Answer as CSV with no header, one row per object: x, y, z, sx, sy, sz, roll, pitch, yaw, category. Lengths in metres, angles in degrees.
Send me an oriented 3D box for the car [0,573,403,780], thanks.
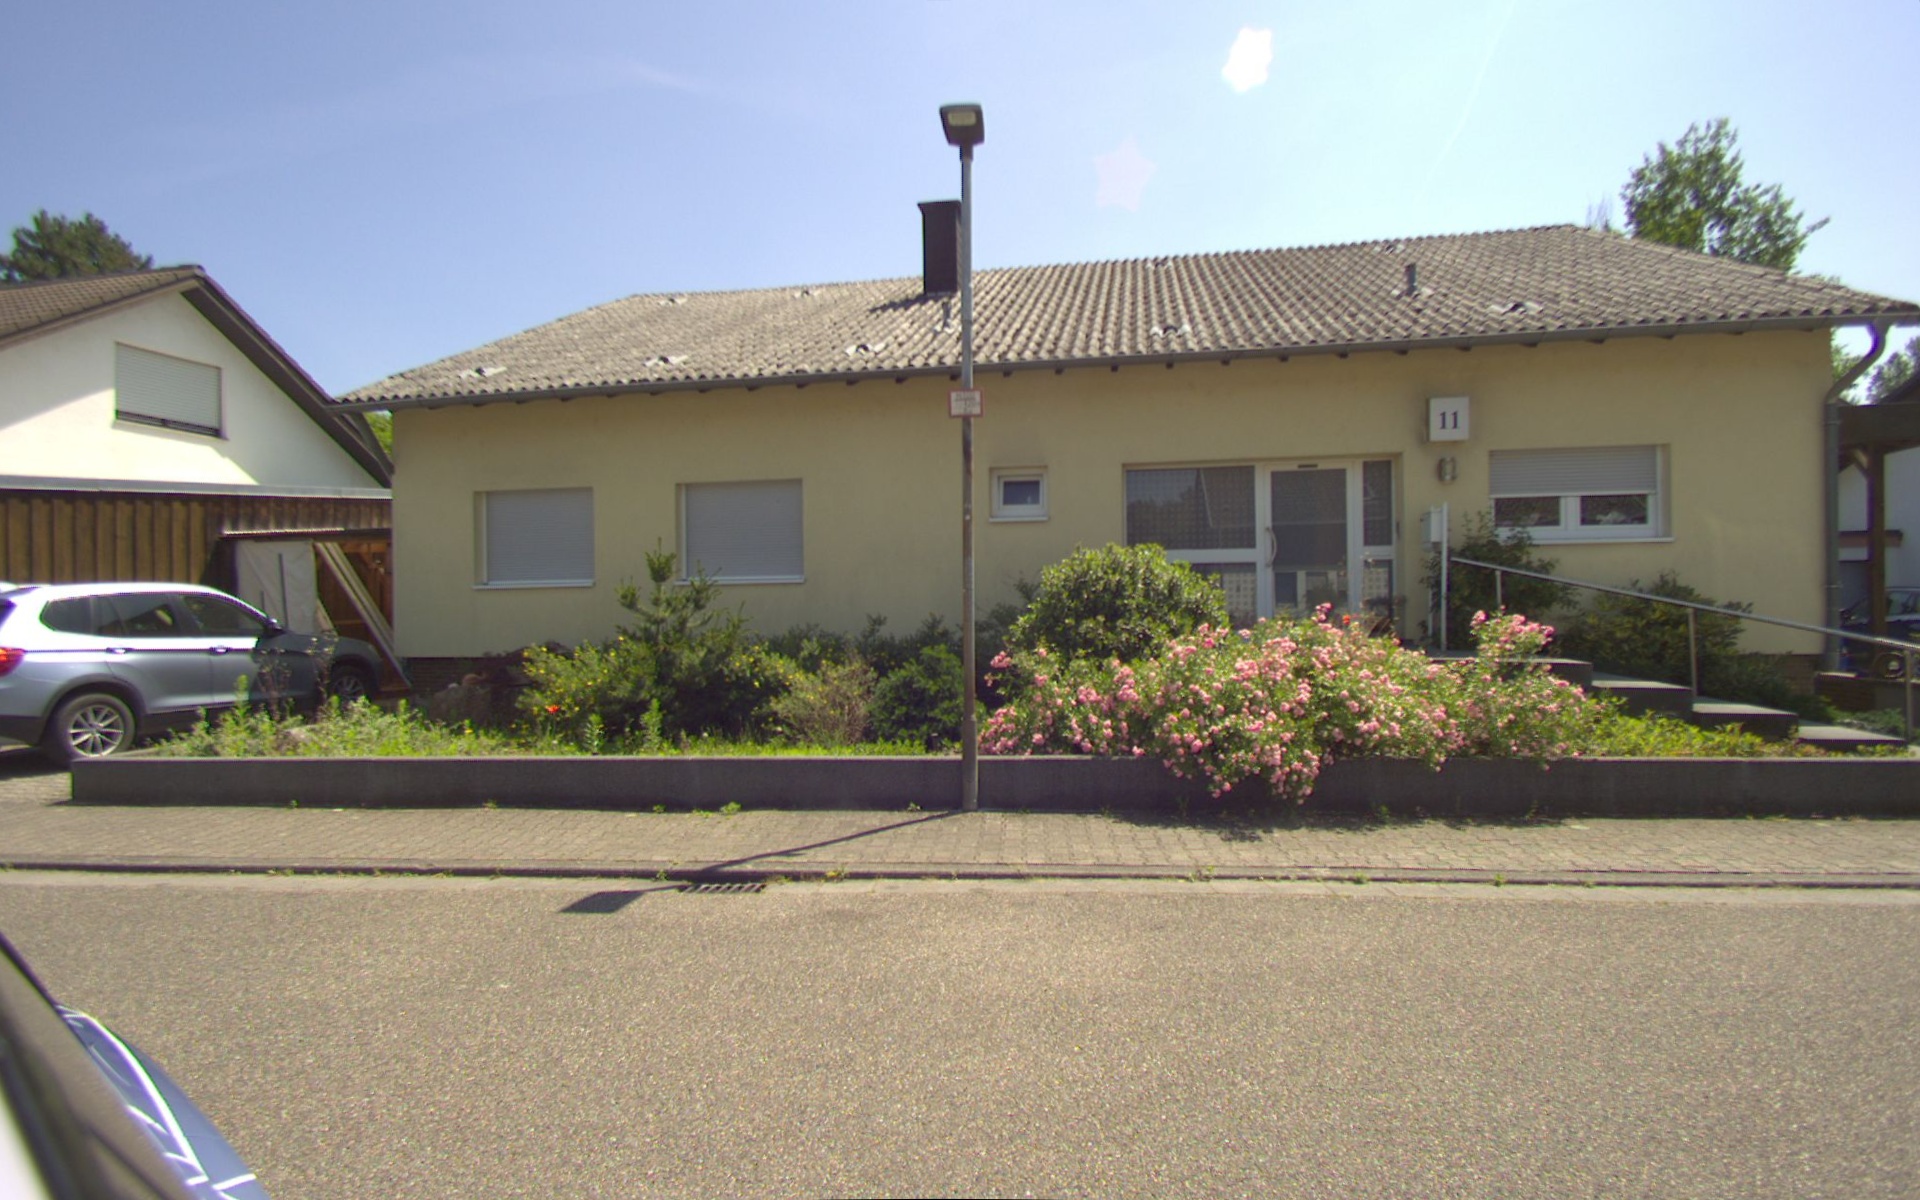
-8.313,0.608,10.579,1.693,1.715,4.623,-1,1,13,car

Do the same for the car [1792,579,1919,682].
16.275,0.451,16.914,1.908,1.620,3.986,-2,0,11,car
